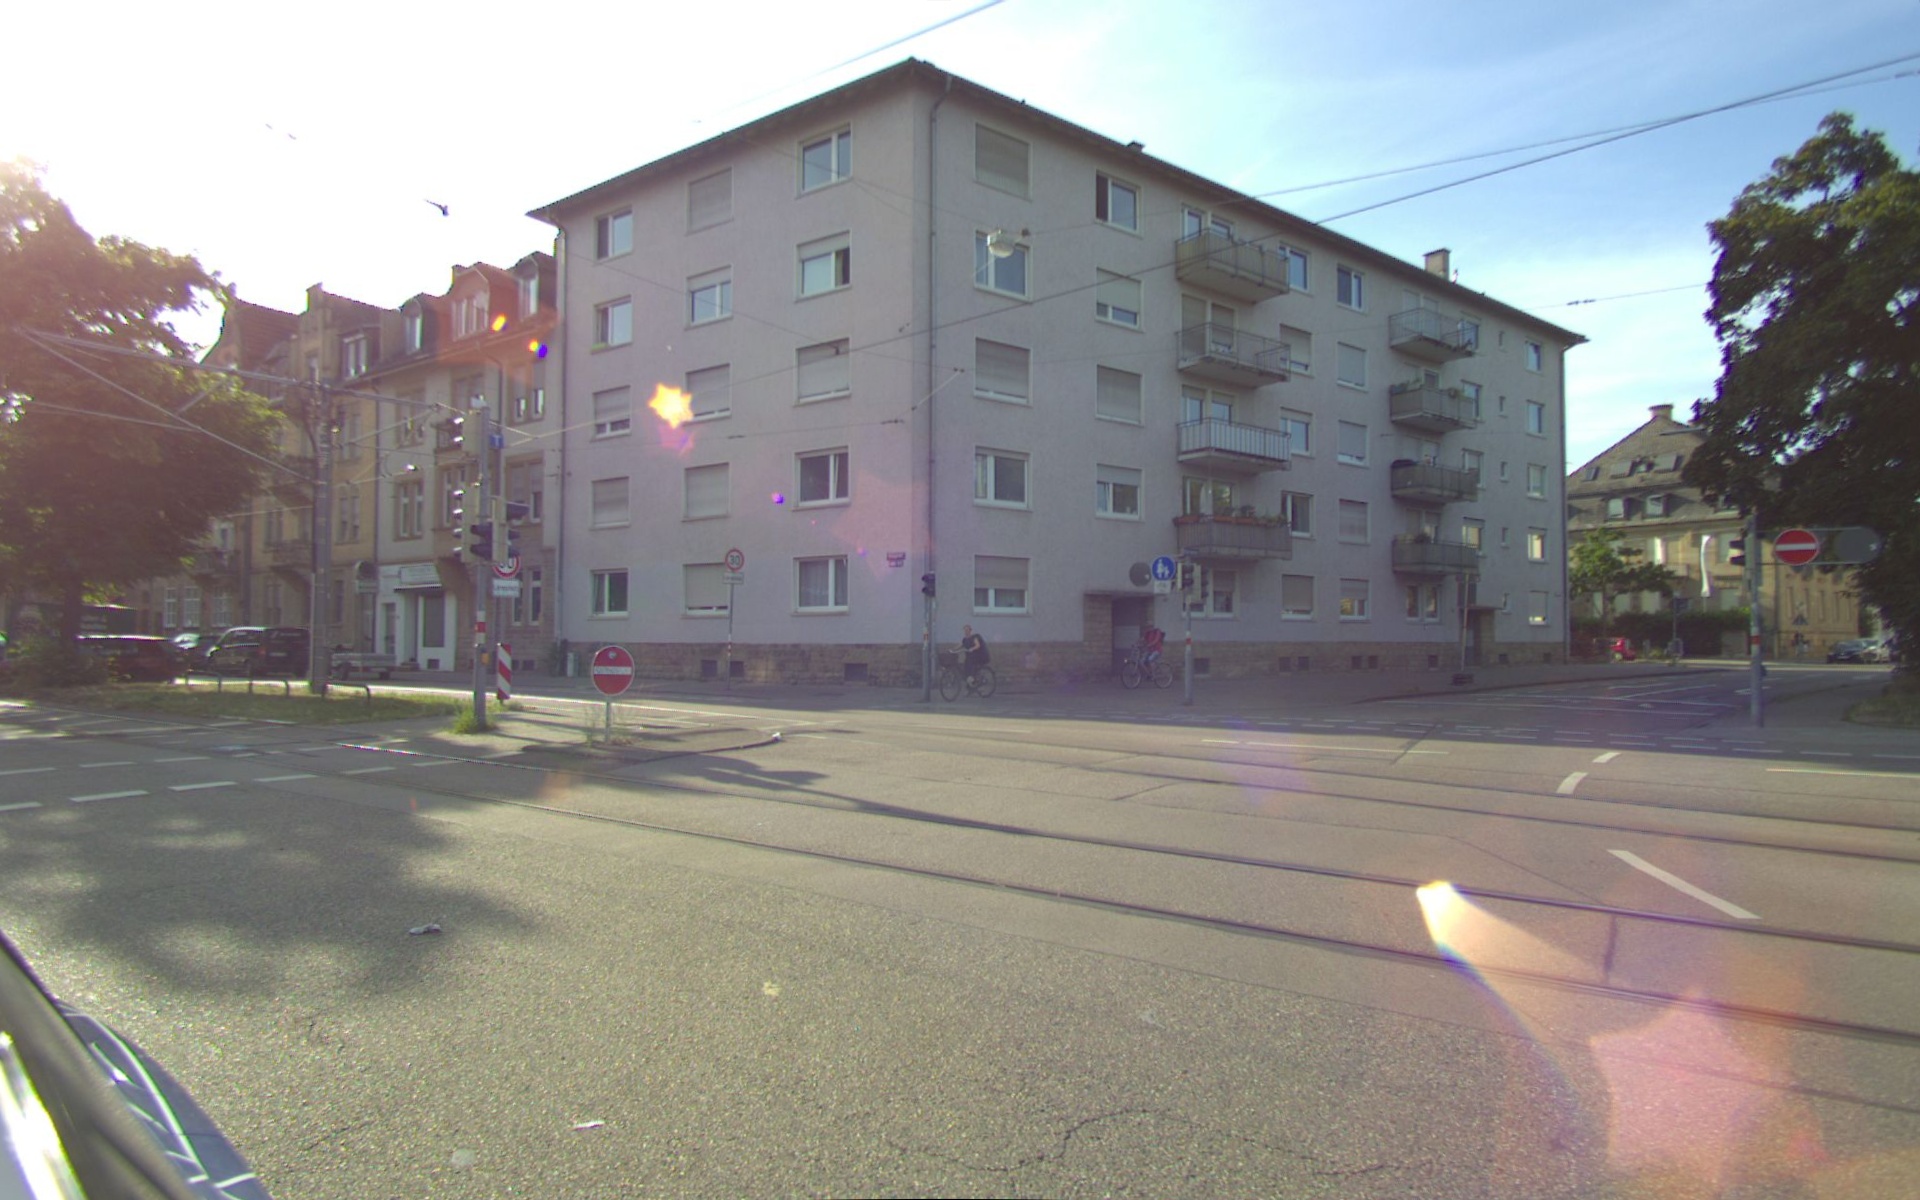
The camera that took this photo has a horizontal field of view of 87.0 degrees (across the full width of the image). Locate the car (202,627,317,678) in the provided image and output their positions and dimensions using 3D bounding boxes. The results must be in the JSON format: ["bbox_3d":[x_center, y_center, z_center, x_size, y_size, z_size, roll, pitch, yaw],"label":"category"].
[{"bbox_3d":[-26.209,1.930,37.847,4.709,1.763,2.145,-2,-2,36],"label":"car"}]

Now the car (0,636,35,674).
[{"bbox_3d":[-36.923,2.046,36.803,4.530,1.392,1.707,0,-2,-21],"label":"car"}]

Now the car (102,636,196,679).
[{"bbox_3d":[-35.817,2.504,44.674,4.601,1.763,2.145,-2,-2,36],"label":"car"}]

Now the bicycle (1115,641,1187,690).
[{"bbox_3d":[5.135,1.739,27.180,1.948,1.212,0.737,0,-2,-35],"label":"bicycle"}]

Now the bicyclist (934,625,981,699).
[{"bbox_3d":[-0.056,1.402,23.198,0.761,1.655,0.796,2,-2,-36],"label":"bicyclist"}]

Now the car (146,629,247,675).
[{"bbox_3d":[-31.532,2.125,41.759,4.601,1.763,2.145,-2,-2,36],"label":"car"}]

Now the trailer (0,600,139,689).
[{"bbox_3d":[-25.418,1.237,28.815,2.816,2.410,1.728,0,-2,-25],"label":"trailer"}]

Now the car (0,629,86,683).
[{"bbox_3d":[-32.029,1.831,33.148,4.638,1.703,2.178,0,-2,-14],"label":"car"}]

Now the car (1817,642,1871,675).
[{"bbox_3d":[52.380,3.428,59.935,3.940,1.738,2.002,0,-2,-43],"label":"car"}]

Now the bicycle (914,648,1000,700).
[{"bbox_3d":[-0.058,1.674,23.193,1.885,1.119,0.737,1,-2,-35],"label":"bicycle"}]

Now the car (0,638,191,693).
[{"bbox_3d":[-22.944,1.688,26.713,3.884,1.370,1.678,1,-3,-21],"label":"car"}]

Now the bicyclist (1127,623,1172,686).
[{"bbox_3d":[5.075,1.448,27.092,0.839,1.655,0.816,0,-2,-36],"label":"bicyclist"}]

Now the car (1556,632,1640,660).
[{"bbox_3d":[40.024,2.895,63.558,1.967,1.657,4.009,0,-2,-37],"label":"car"}]

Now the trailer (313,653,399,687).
[{"bbox_3d":[-20.632,2.366,34.554,2.873,0.902,1.429,-2,4,35],"label":"trailer"}]

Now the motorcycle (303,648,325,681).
[{"bbox_3d":[-22.810,2.269,35.729,0.626,1.088,1.739,0,-2,-32],"label":"motorcycle"}]

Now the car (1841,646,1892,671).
[{"bbox_3d":[56.535,3.629,63.107,3.940,1.431,2.002,0,-2,-43],"label":"car"}]
